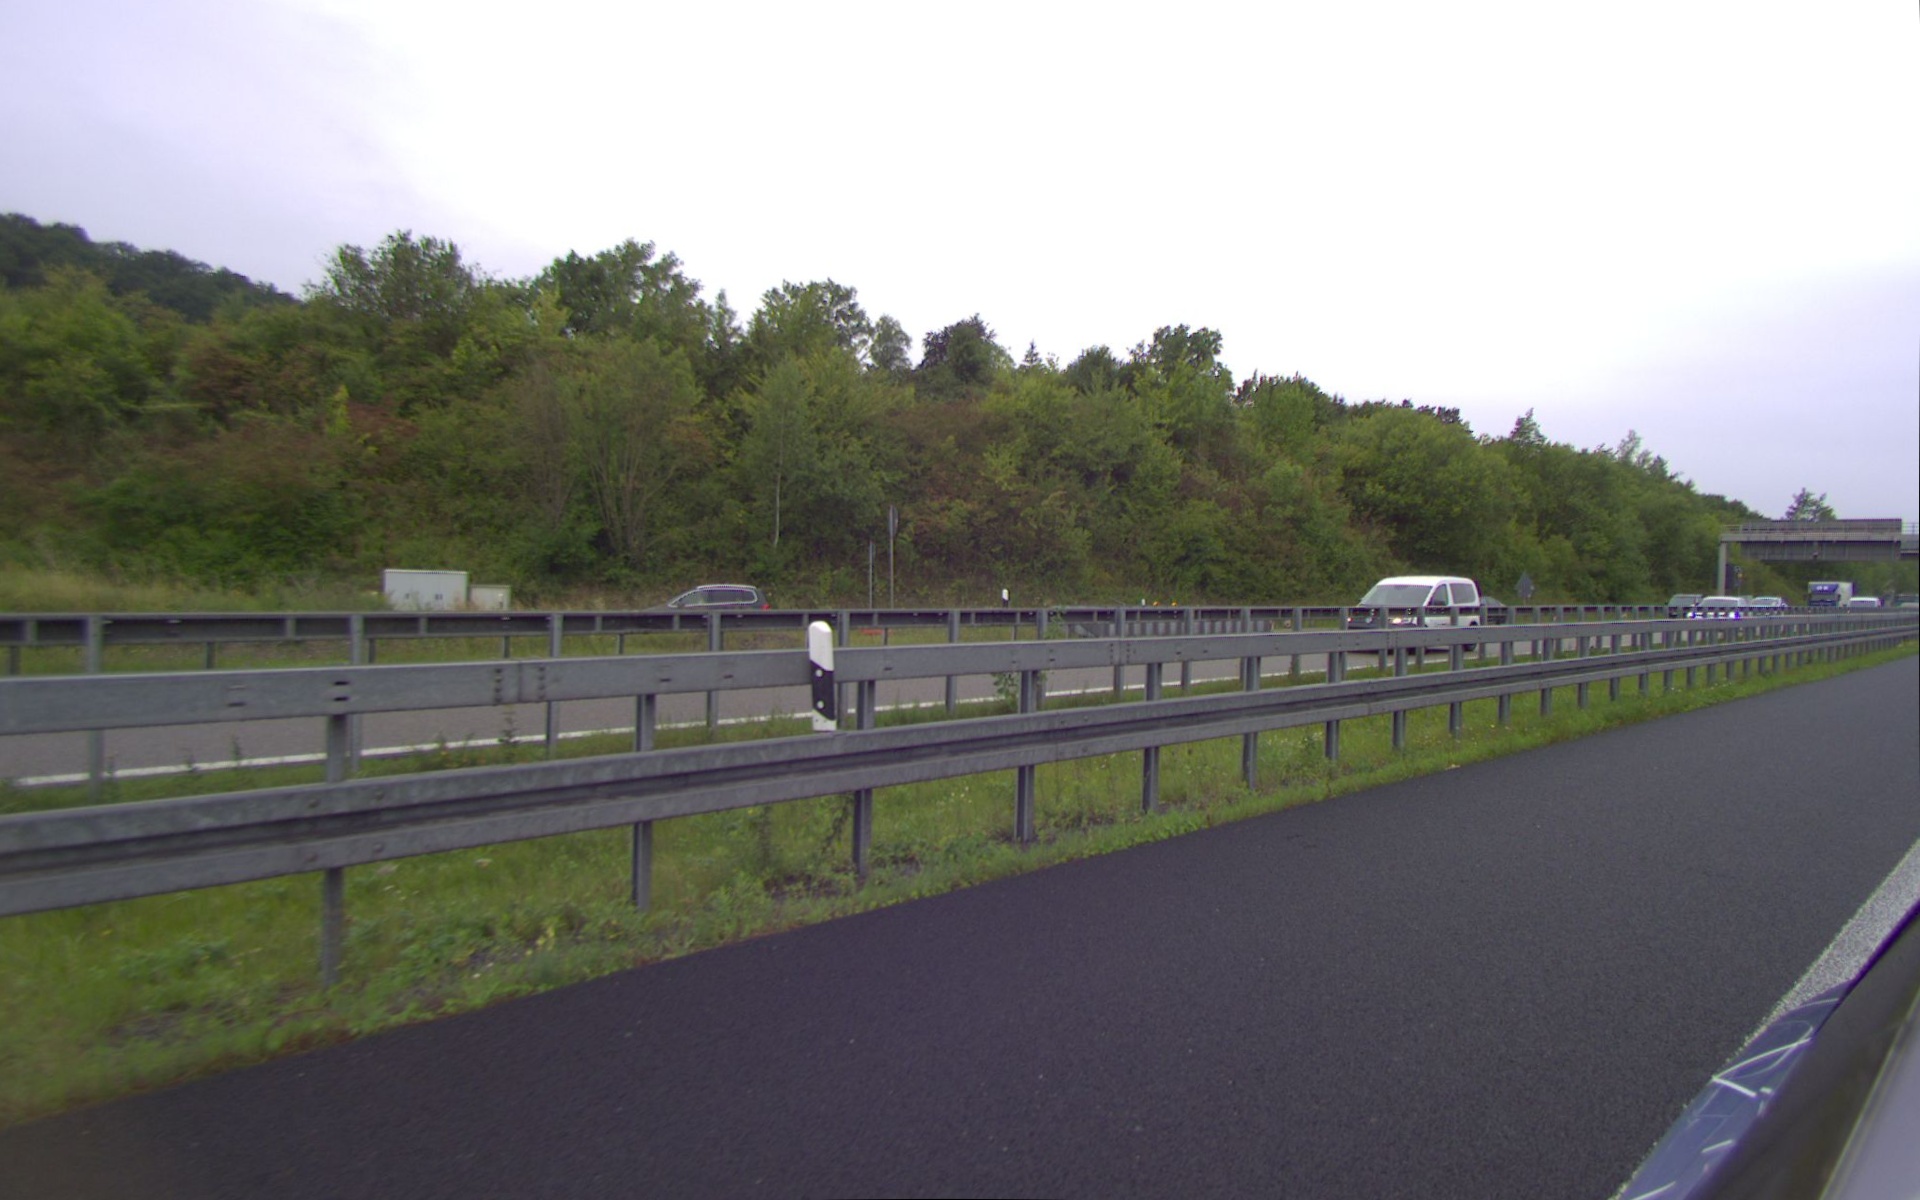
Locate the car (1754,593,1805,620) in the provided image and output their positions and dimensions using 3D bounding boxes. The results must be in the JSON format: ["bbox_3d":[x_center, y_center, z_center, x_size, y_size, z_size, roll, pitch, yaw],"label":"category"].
[{"bbox_3d":[53.107,0.391,65.546,4.074,1.633,1.900,0,1,-41],"label":"car"}]

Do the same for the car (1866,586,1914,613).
[{"bbox_3d":[65.560,-0.081,71.329,4.201,1.837,2.011,0,1,-41],"label":"car"}]

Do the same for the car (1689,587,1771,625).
[{"bbox_3d":[33.714,0.227,44.245,4.615,1.567,2.011,0,1,-42],"label":"car"}]

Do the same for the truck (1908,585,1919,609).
[{"bbox_3d":[142.868,-0.484,149.705,13.129,3.460,2.904,0,1,-43],"label":"truck"}]

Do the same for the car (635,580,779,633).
[{"bbox_3d":[-8.014,0.188,32.057,4.152,1.602,1.869,0,1,-23],"label":"car"}]

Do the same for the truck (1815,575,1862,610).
[{"bbox_3d":[90.753,-0.785,104.462,9.130,3.460,2.903,0,1,-44],"label":"truck"}]

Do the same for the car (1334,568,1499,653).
[{"bbox_3d":[10.879,0.207,23.962,4.567,1.828,1.863,0,1,-42],"label":"car"}]
